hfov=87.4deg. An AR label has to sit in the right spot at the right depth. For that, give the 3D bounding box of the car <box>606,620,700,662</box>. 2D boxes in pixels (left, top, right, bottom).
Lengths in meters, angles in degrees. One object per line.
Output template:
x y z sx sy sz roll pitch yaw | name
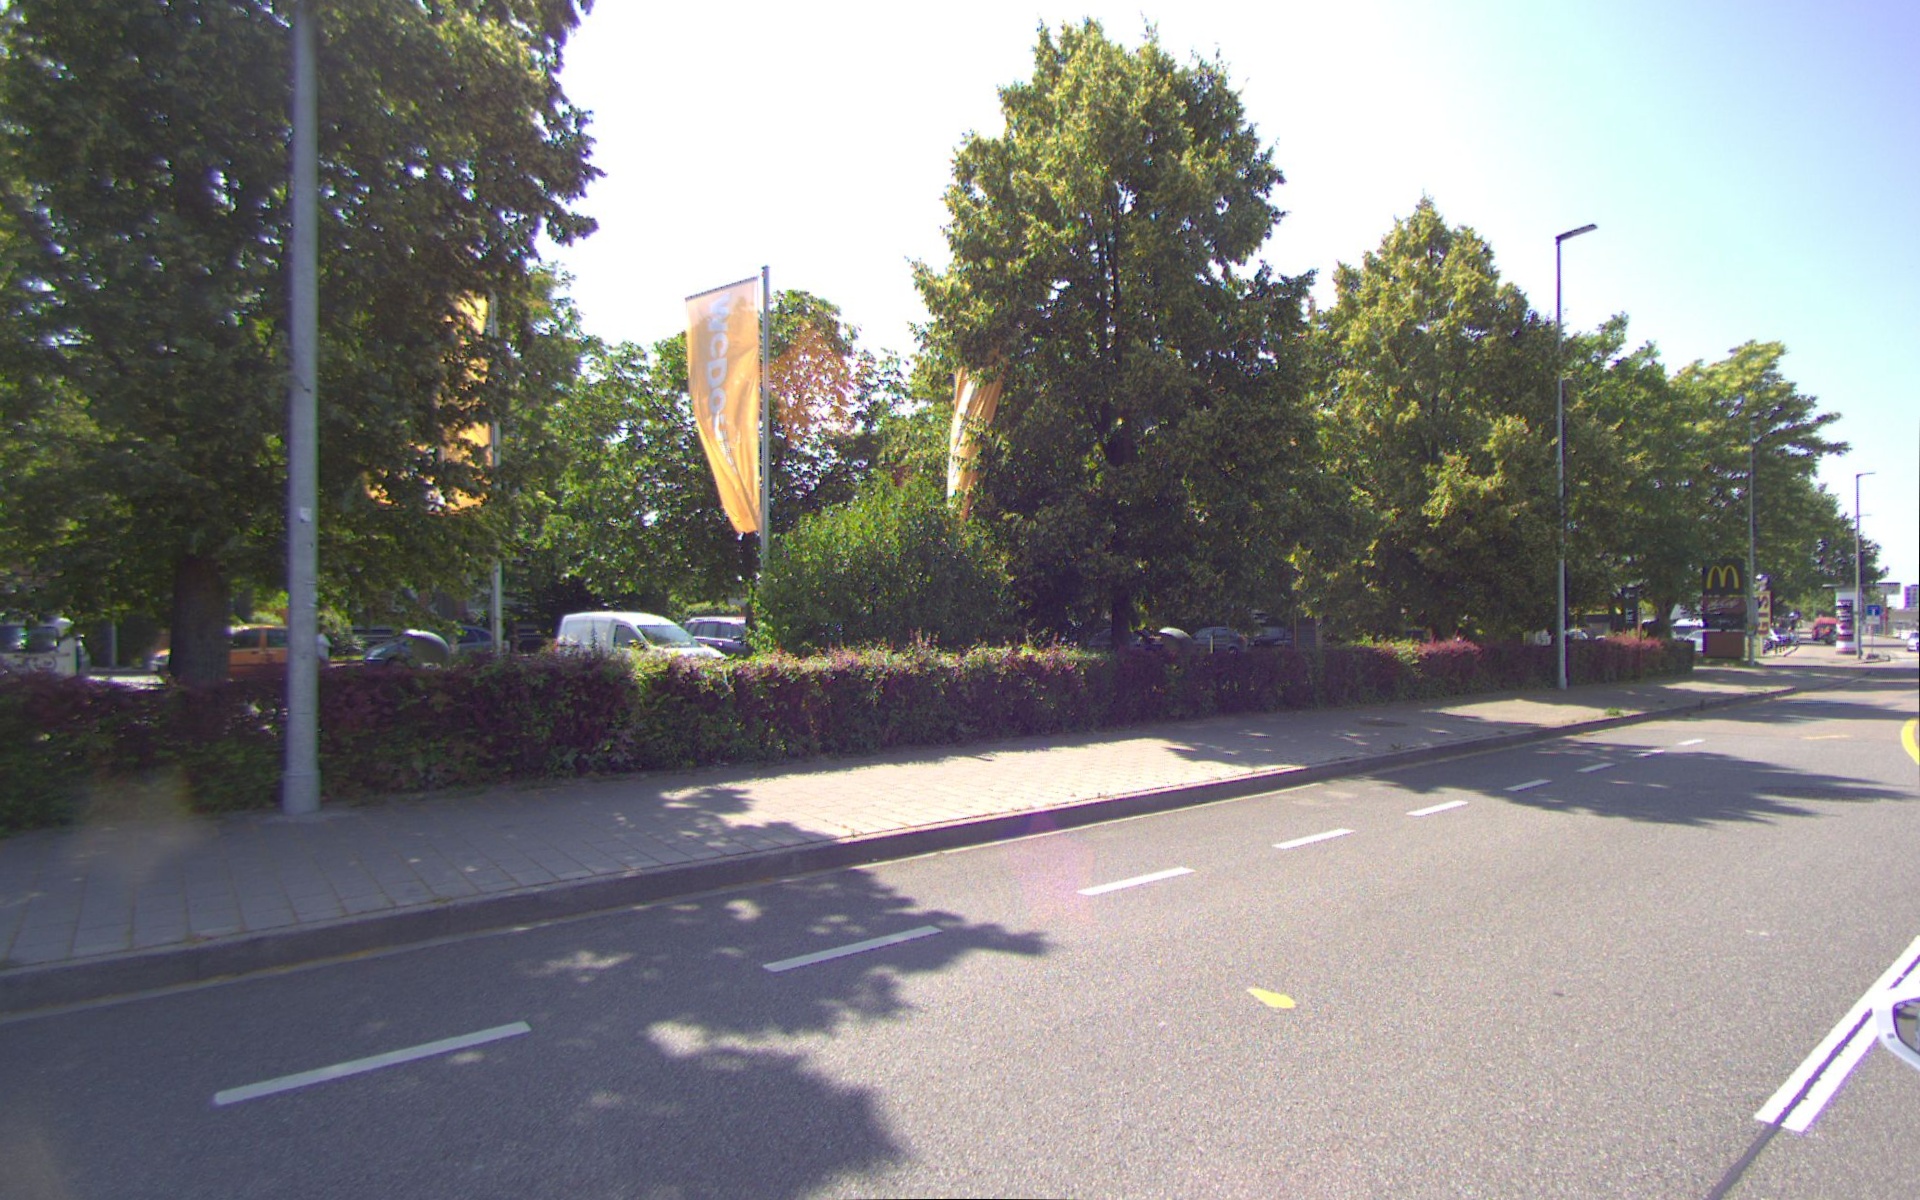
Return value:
-12.676 1.650 41.427 3.808 1.597 1.812 0 -1 38 | car

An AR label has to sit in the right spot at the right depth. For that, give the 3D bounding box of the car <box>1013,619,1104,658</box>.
4.394 1.687 45.027 3.786 1.609 1.638 0 -1 36 | car

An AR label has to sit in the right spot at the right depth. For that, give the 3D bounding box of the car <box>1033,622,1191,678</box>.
4.721 1.494 30.813 4.989 1.581 2.051 2 -2 -40 | car

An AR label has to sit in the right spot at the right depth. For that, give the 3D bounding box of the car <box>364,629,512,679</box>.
-17.265 1.741 33.317 4.134 1.537 1.746 1 -1 -37 | car

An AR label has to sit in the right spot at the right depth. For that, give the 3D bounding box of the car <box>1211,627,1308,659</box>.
14.036 1.984 47.145 4.029 1.406 1.764 0 -1 37 | car

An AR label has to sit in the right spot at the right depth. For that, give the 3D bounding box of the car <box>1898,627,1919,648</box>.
70.139 2.729 73.688 1.658 1.512 4.583 -2 -3 40 | car

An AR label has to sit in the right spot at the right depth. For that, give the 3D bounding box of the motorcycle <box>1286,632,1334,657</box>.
17.019 2.176 48.858 2.141 1.146 0.570 1 -1 21 | motorcycle

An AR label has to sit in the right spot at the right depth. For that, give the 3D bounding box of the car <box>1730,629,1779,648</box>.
66.617 3.274 84.294 1.639 1.492 4.003 -3 -3 13 | car

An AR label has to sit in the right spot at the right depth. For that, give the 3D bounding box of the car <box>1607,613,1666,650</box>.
51.960 2.462 77.123 6.106 2.794 2.257 2 -3 -42 | car

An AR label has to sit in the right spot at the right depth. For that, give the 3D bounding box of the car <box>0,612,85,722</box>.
-17.170 1.099 16.227 1.727 1.822 4.223 0 -1 27 | car

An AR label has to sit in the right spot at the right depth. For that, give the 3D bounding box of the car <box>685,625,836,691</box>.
-5.413 1.509 27.163 3.746 1.604 1.900 0 -1 33 | car

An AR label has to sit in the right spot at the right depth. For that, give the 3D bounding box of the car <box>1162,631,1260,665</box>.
11.357 2.152 45.579 4.006 1.414 1.621 0 -1 37 | car

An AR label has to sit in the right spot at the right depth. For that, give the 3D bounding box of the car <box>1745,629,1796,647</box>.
69.644 3.264 86.389 1.746 1.492 4.003 -3 -3 13 | car

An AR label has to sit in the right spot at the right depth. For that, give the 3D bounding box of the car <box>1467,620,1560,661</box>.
29.783 2.212 54.231 1.859 1.944 4.520 -2 -4 -10 | car

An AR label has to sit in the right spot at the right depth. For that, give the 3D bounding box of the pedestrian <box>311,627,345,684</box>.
-18.236 1.581 28.994 0.501 1.611 0.688 0 -1 40 | pedestrian

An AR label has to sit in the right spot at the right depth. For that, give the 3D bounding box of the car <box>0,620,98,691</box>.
-22.452 1.290 24.375 3.555 1.552 1.615 0 -1 38 | car

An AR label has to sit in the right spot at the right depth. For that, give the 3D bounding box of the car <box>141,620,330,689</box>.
-18.953 1.371 26.400 1.642 1.653 3.710 0 -1 37 | car

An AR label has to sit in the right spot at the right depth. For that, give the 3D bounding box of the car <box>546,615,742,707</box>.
-6.994 1.259 22.114 4.278 1.852 1.745 -1 -1 31 | car
